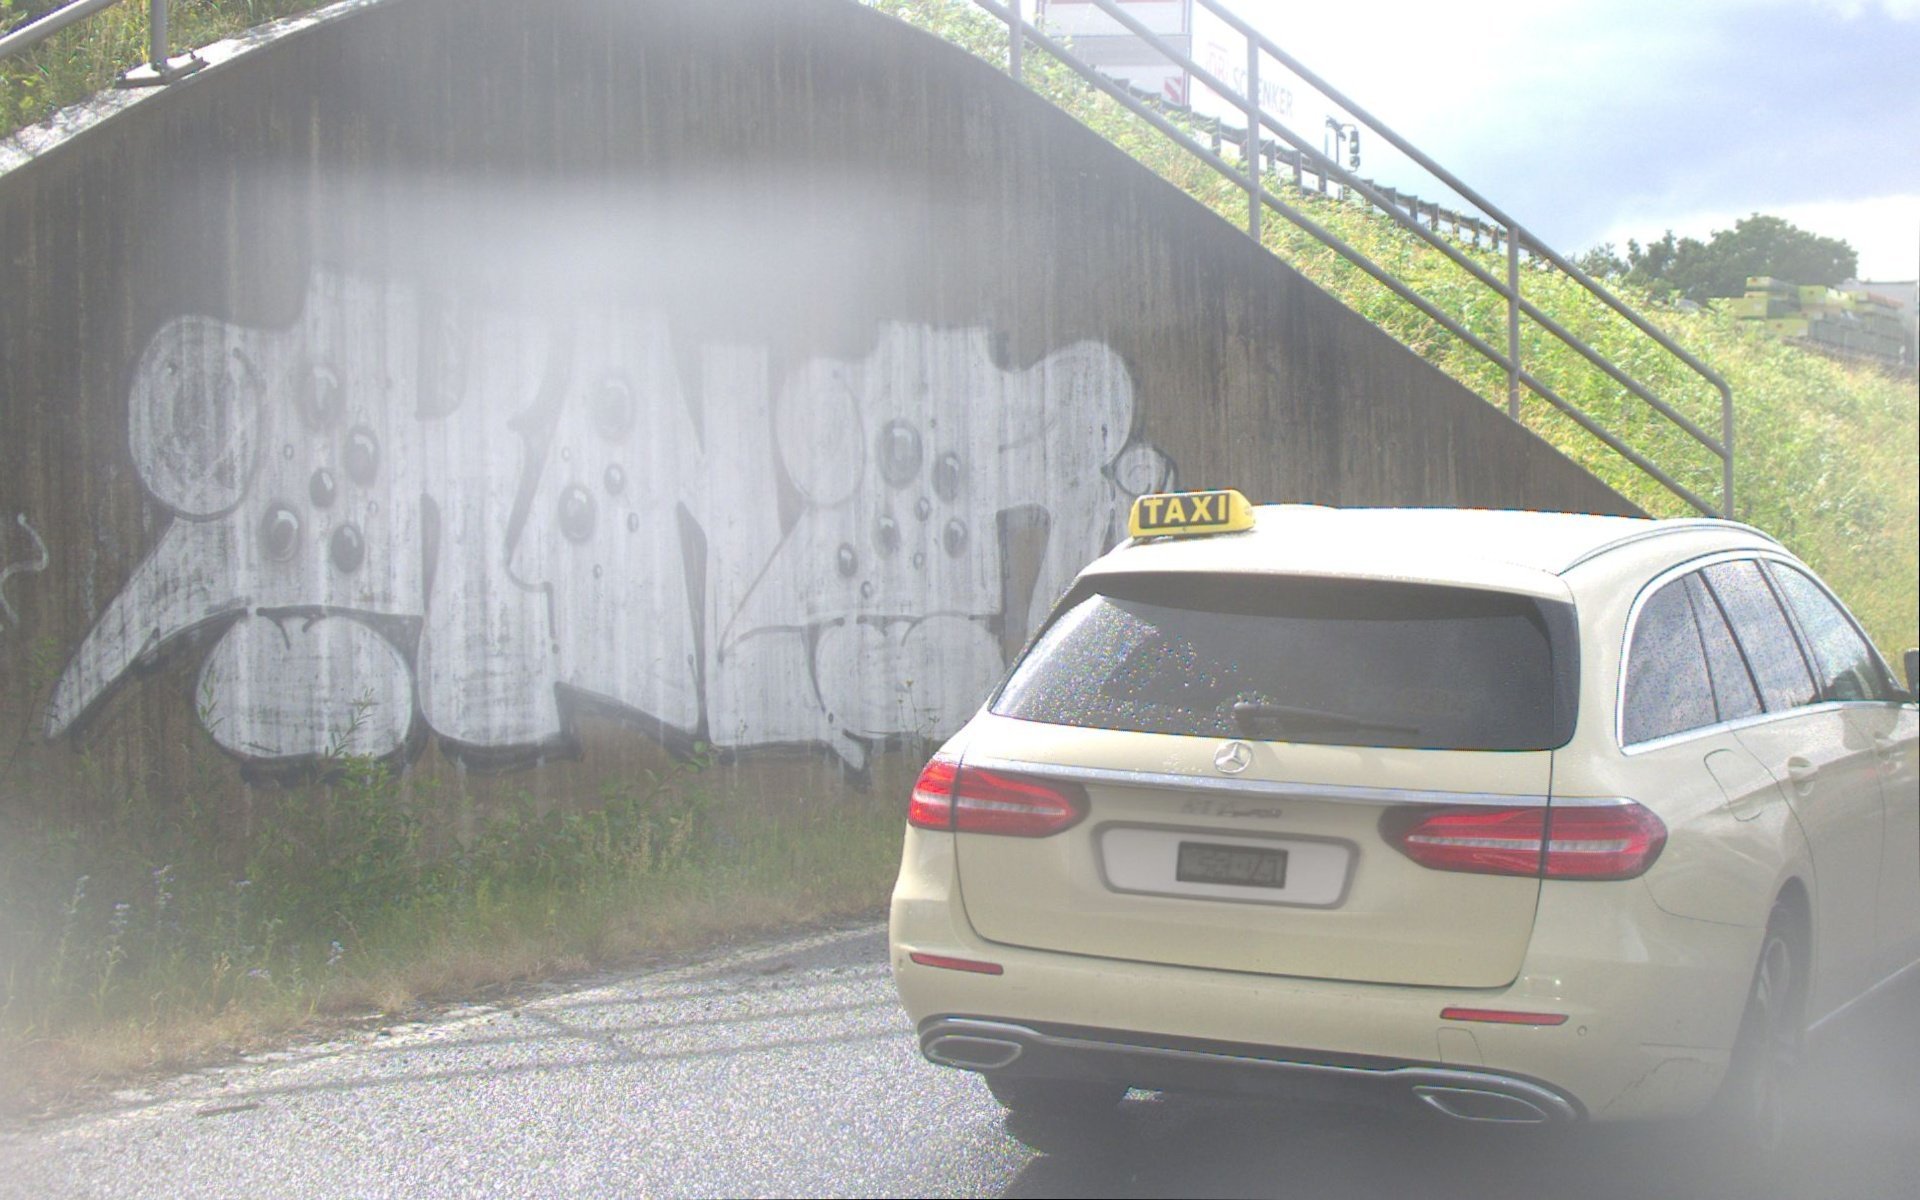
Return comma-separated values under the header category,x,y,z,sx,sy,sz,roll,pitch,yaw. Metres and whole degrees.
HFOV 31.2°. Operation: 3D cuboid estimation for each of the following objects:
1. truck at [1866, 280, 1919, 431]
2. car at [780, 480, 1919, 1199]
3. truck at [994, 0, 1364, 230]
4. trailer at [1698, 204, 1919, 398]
category,x,y,z,sx,sy,sz,roll,pitch,yaw
truck,36.246,-8.056,120.181,4.467,4.488,19.346,2,0,28
car,1.452,0.473,8.875,1.918,1.502,4.590,1,1,25
truck,3.704,-8.402,54.890,3.184,3.952,9.226,2,0,21
trailer,27.138,-8.658,102.854,4.420,3.942,20.186,2,0,28
